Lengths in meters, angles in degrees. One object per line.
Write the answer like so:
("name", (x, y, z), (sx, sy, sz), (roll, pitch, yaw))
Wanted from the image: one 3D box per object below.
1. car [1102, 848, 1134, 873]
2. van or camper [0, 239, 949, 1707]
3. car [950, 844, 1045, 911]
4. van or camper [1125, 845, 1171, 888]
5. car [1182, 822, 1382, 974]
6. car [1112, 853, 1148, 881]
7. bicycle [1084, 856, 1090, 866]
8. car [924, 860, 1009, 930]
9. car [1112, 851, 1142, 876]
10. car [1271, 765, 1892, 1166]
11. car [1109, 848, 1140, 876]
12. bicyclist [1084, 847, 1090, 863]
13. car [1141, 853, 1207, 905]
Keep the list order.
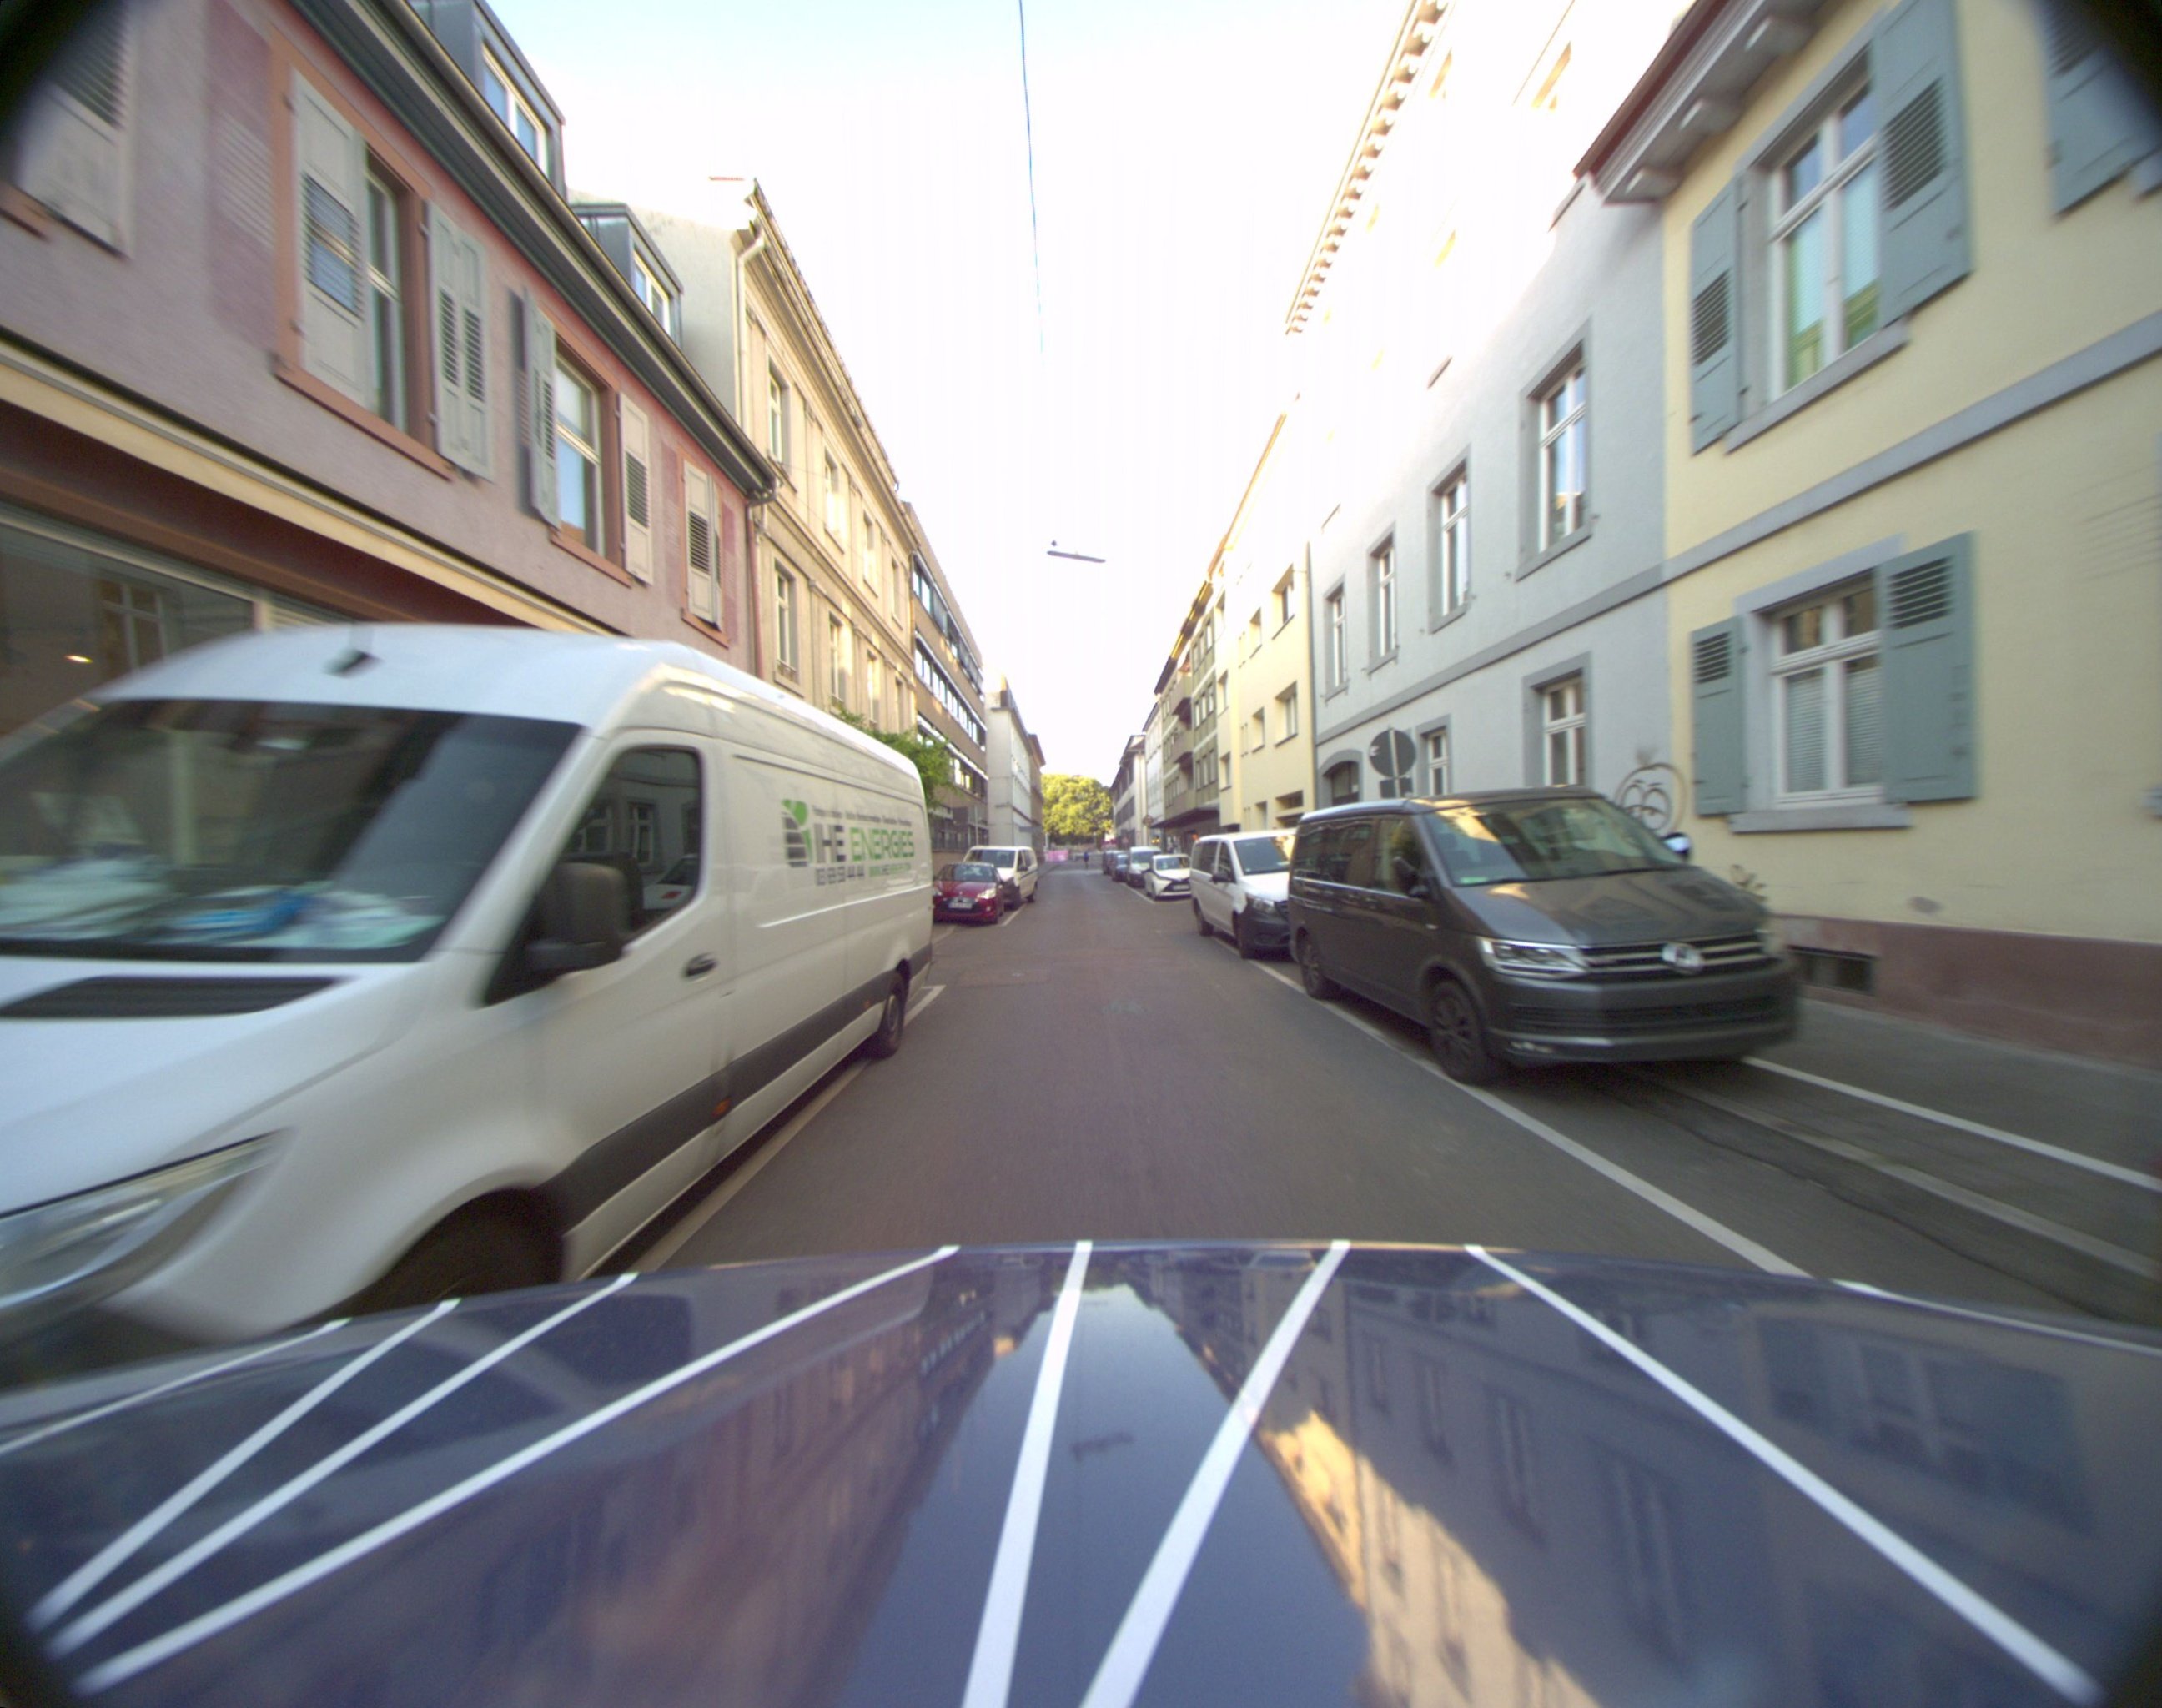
("car", (2.785, 0.483, 58.209), (1.882, 1.800, 4.449), (-2, 0, -3))
("van or camper", (-2.438, 0.475, 4.080), (2.055, 2.622, 7.062), (-1, 0, 1))
("car", (-2.495, 0.658, 24.184), (1.940, 1.887, 5.278), (-1, 0, 5))
("van or camper", (3.011, 0.534, 34.898), (1.776, 1.837, 4.178), (-1, 0, 1))
("car", (3.044, 0.578, 12.773), (1.867, 2.002, 5.105), (-1, 0, -1))
("car", (2.701, 0.693, 42.590), (1.628, 1.408, 3.979), (-2, 1, -2))
("bicycle", (0.638, 0.703, 78.509), (0.635, 0.916, 1.779), (-2, 1, 0))
("car", (-2.736, 0.938, 18.923), (1.659, 1.496, 3.752), (-1, 0, -2))
("car", (2.899, 0.544, 48.294), (1.628, 1.476, 3.877), (-1, 1, 0))
("car", (3.173, 0.560, 6.289), (1.867, 2.002, 4.813), (-1, 0, -1))
("car", (2.996, 0.516, 53.078), (1.777, 1.800, 4.509), (-2, 0, -1))
("bicyclist", (0.636, 0.085, 78.497), (0.625, 1.630, 1.081), (-2, 1, 0))
("car", (3.042, 0.779, 25.516), (1.666, 1.440, 3.520), (-5, 1, 0))
